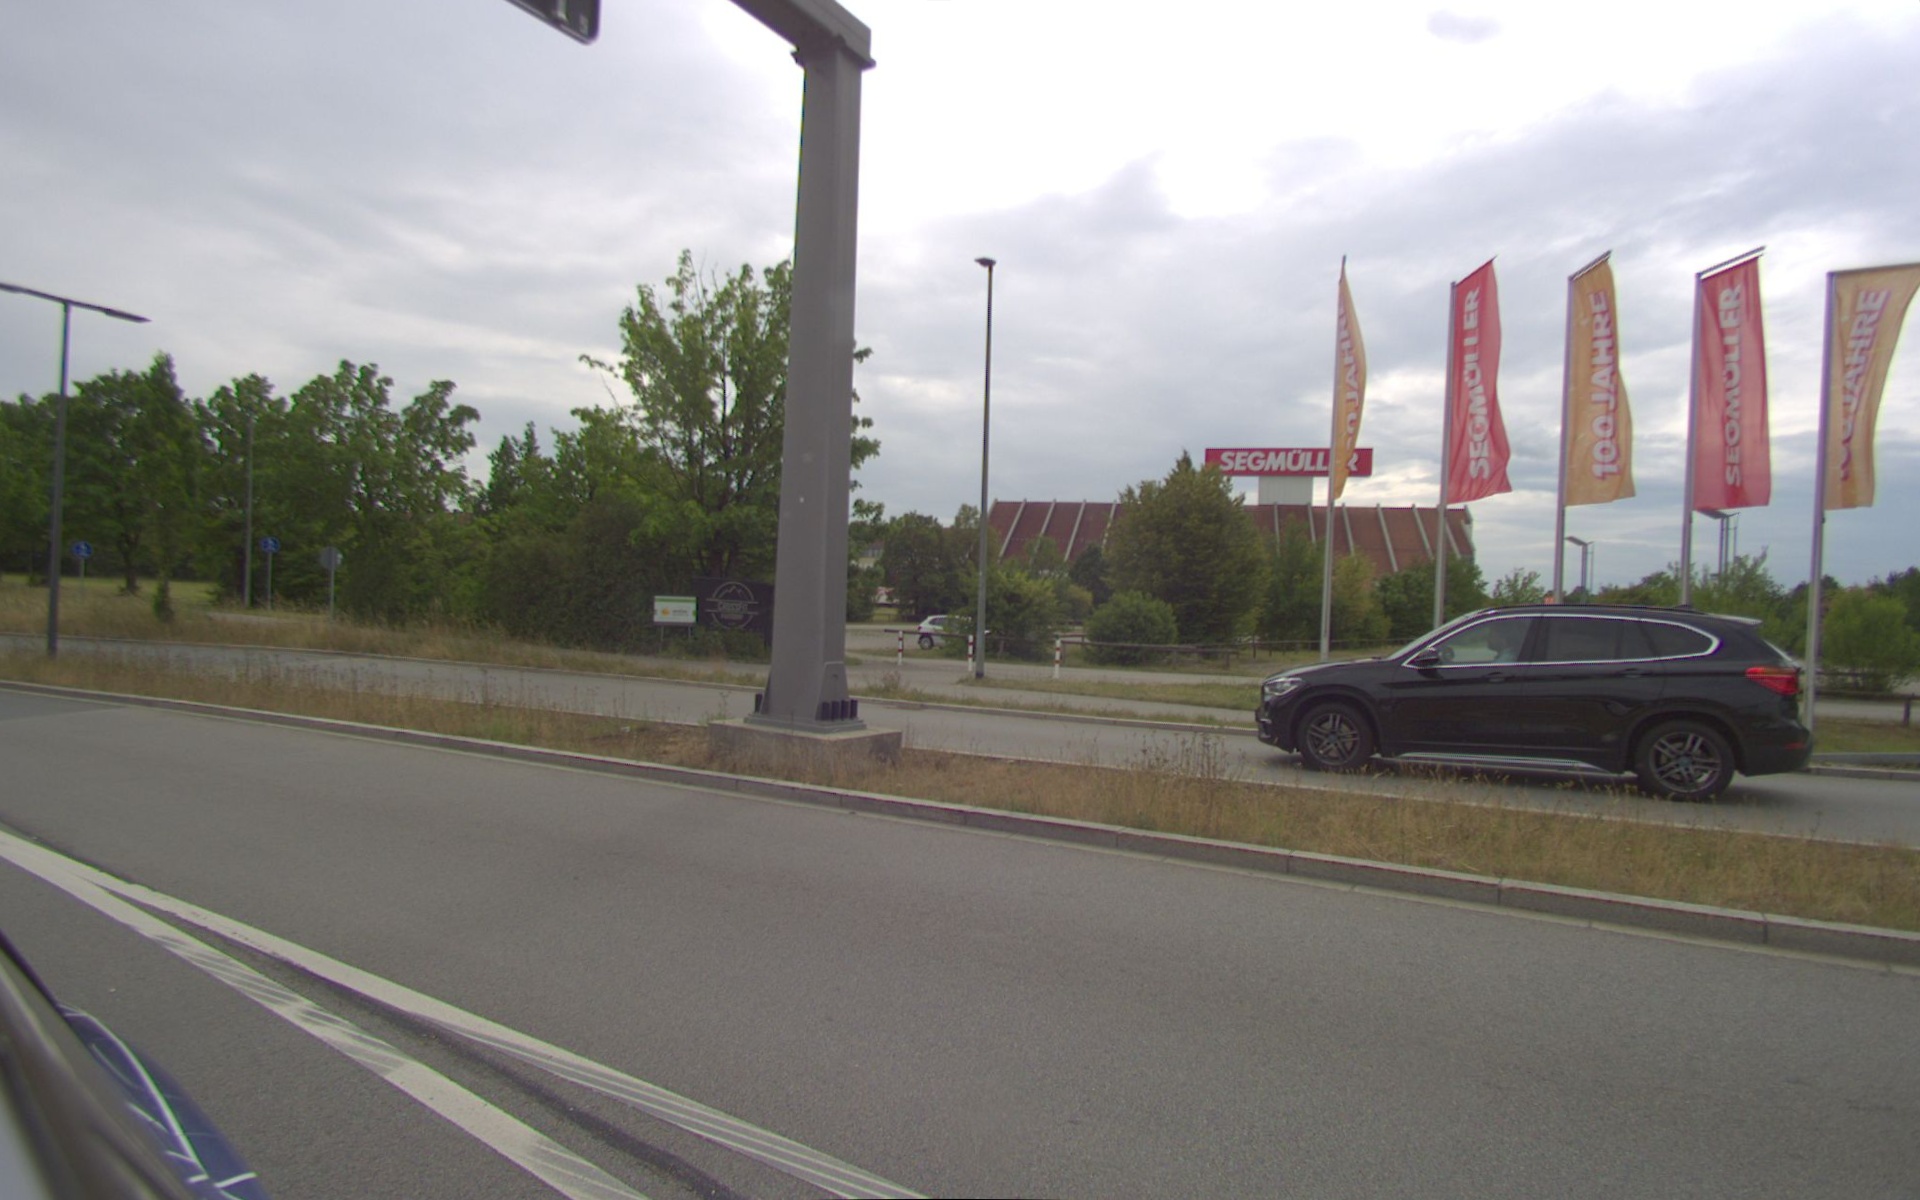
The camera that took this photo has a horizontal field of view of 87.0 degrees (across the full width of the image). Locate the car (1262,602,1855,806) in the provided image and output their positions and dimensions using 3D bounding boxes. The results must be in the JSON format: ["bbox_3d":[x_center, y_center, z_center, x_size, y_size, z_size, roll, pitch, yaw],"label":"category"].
[{"bbox_3d":[5.140,0.808,9.303,4.261,1.478,1.875,0,-2,28],"label":"car"}]
